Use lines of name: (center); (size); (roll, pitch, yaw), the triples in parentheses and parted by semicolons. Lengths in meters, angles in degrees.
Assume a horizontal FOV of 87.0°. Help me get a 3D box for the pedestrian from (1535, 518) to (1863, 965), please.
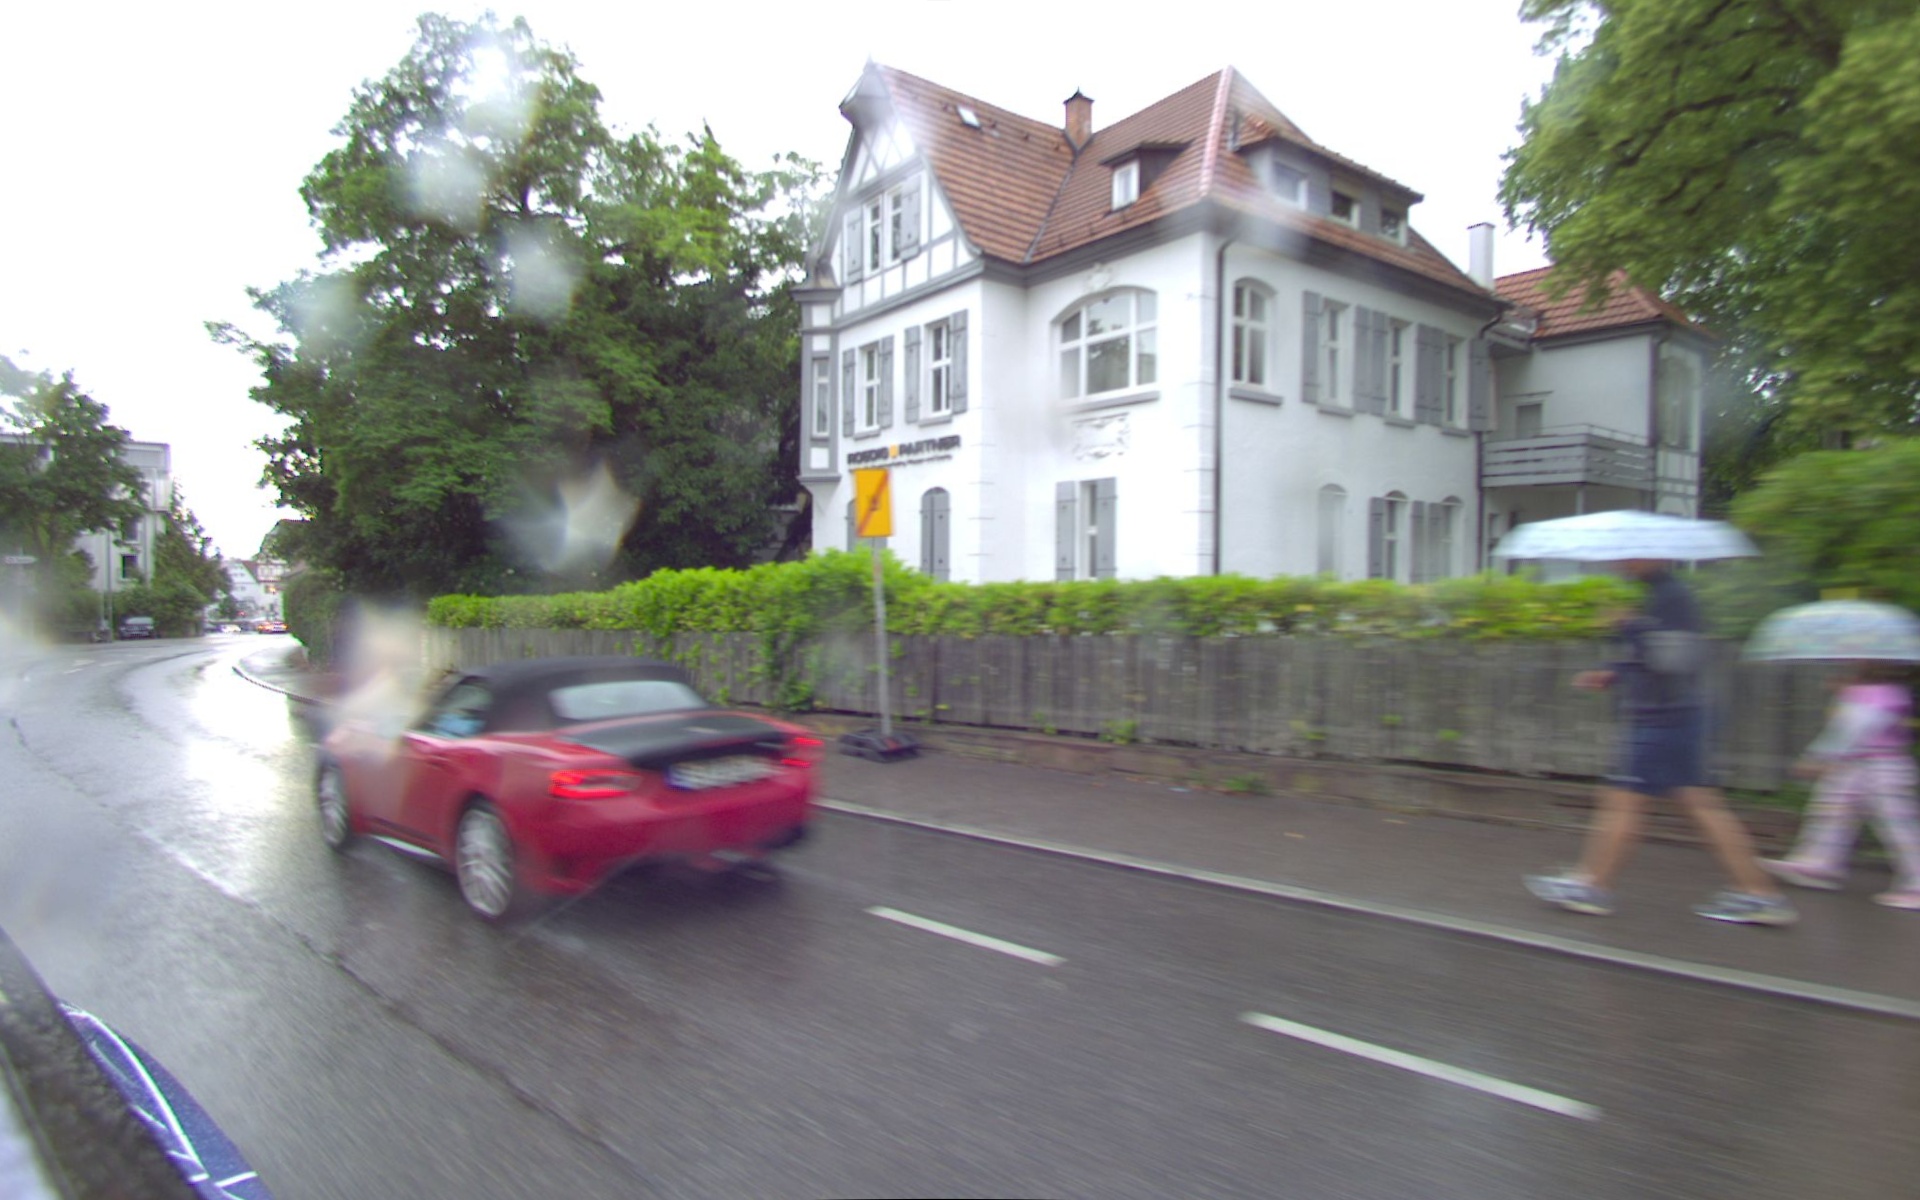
pedestrian: (3.185, 0.527, 4.378); (1.039, 1.656, 0.748); (-2, 0, 43)

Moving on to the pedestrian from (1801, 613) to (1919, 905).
pedestrian: (4.343, 0.661, 4.371); (1.039, 1.189, 0.748); (-2, 0, 43)

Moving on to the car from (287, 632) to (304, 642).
car: (-91.324, 5.088, 139.010); (1.715, 1.364, 4.068); (-1, -2, -37)

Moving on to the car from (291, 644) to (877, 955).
car: (-2.454, 0.878, 6.015); (4.000, 1.155, 1.661); (-2, -1, 43)

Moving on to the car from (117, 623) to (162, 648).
car: (-56.381, 2.447, 69.627); (1.756, 1.582, 4.741); (-3, 0, -31)

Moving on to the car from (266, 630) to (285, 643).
car: (-81.252, 4.343, 120.081); (1.775, 1.450, 4.700); (-1, -2, -35)

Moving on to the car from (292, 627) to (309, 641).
car: (-84.096, 4.335, 129.141); (1.722, 1.583, 3.823); (-4, 1, -33)
